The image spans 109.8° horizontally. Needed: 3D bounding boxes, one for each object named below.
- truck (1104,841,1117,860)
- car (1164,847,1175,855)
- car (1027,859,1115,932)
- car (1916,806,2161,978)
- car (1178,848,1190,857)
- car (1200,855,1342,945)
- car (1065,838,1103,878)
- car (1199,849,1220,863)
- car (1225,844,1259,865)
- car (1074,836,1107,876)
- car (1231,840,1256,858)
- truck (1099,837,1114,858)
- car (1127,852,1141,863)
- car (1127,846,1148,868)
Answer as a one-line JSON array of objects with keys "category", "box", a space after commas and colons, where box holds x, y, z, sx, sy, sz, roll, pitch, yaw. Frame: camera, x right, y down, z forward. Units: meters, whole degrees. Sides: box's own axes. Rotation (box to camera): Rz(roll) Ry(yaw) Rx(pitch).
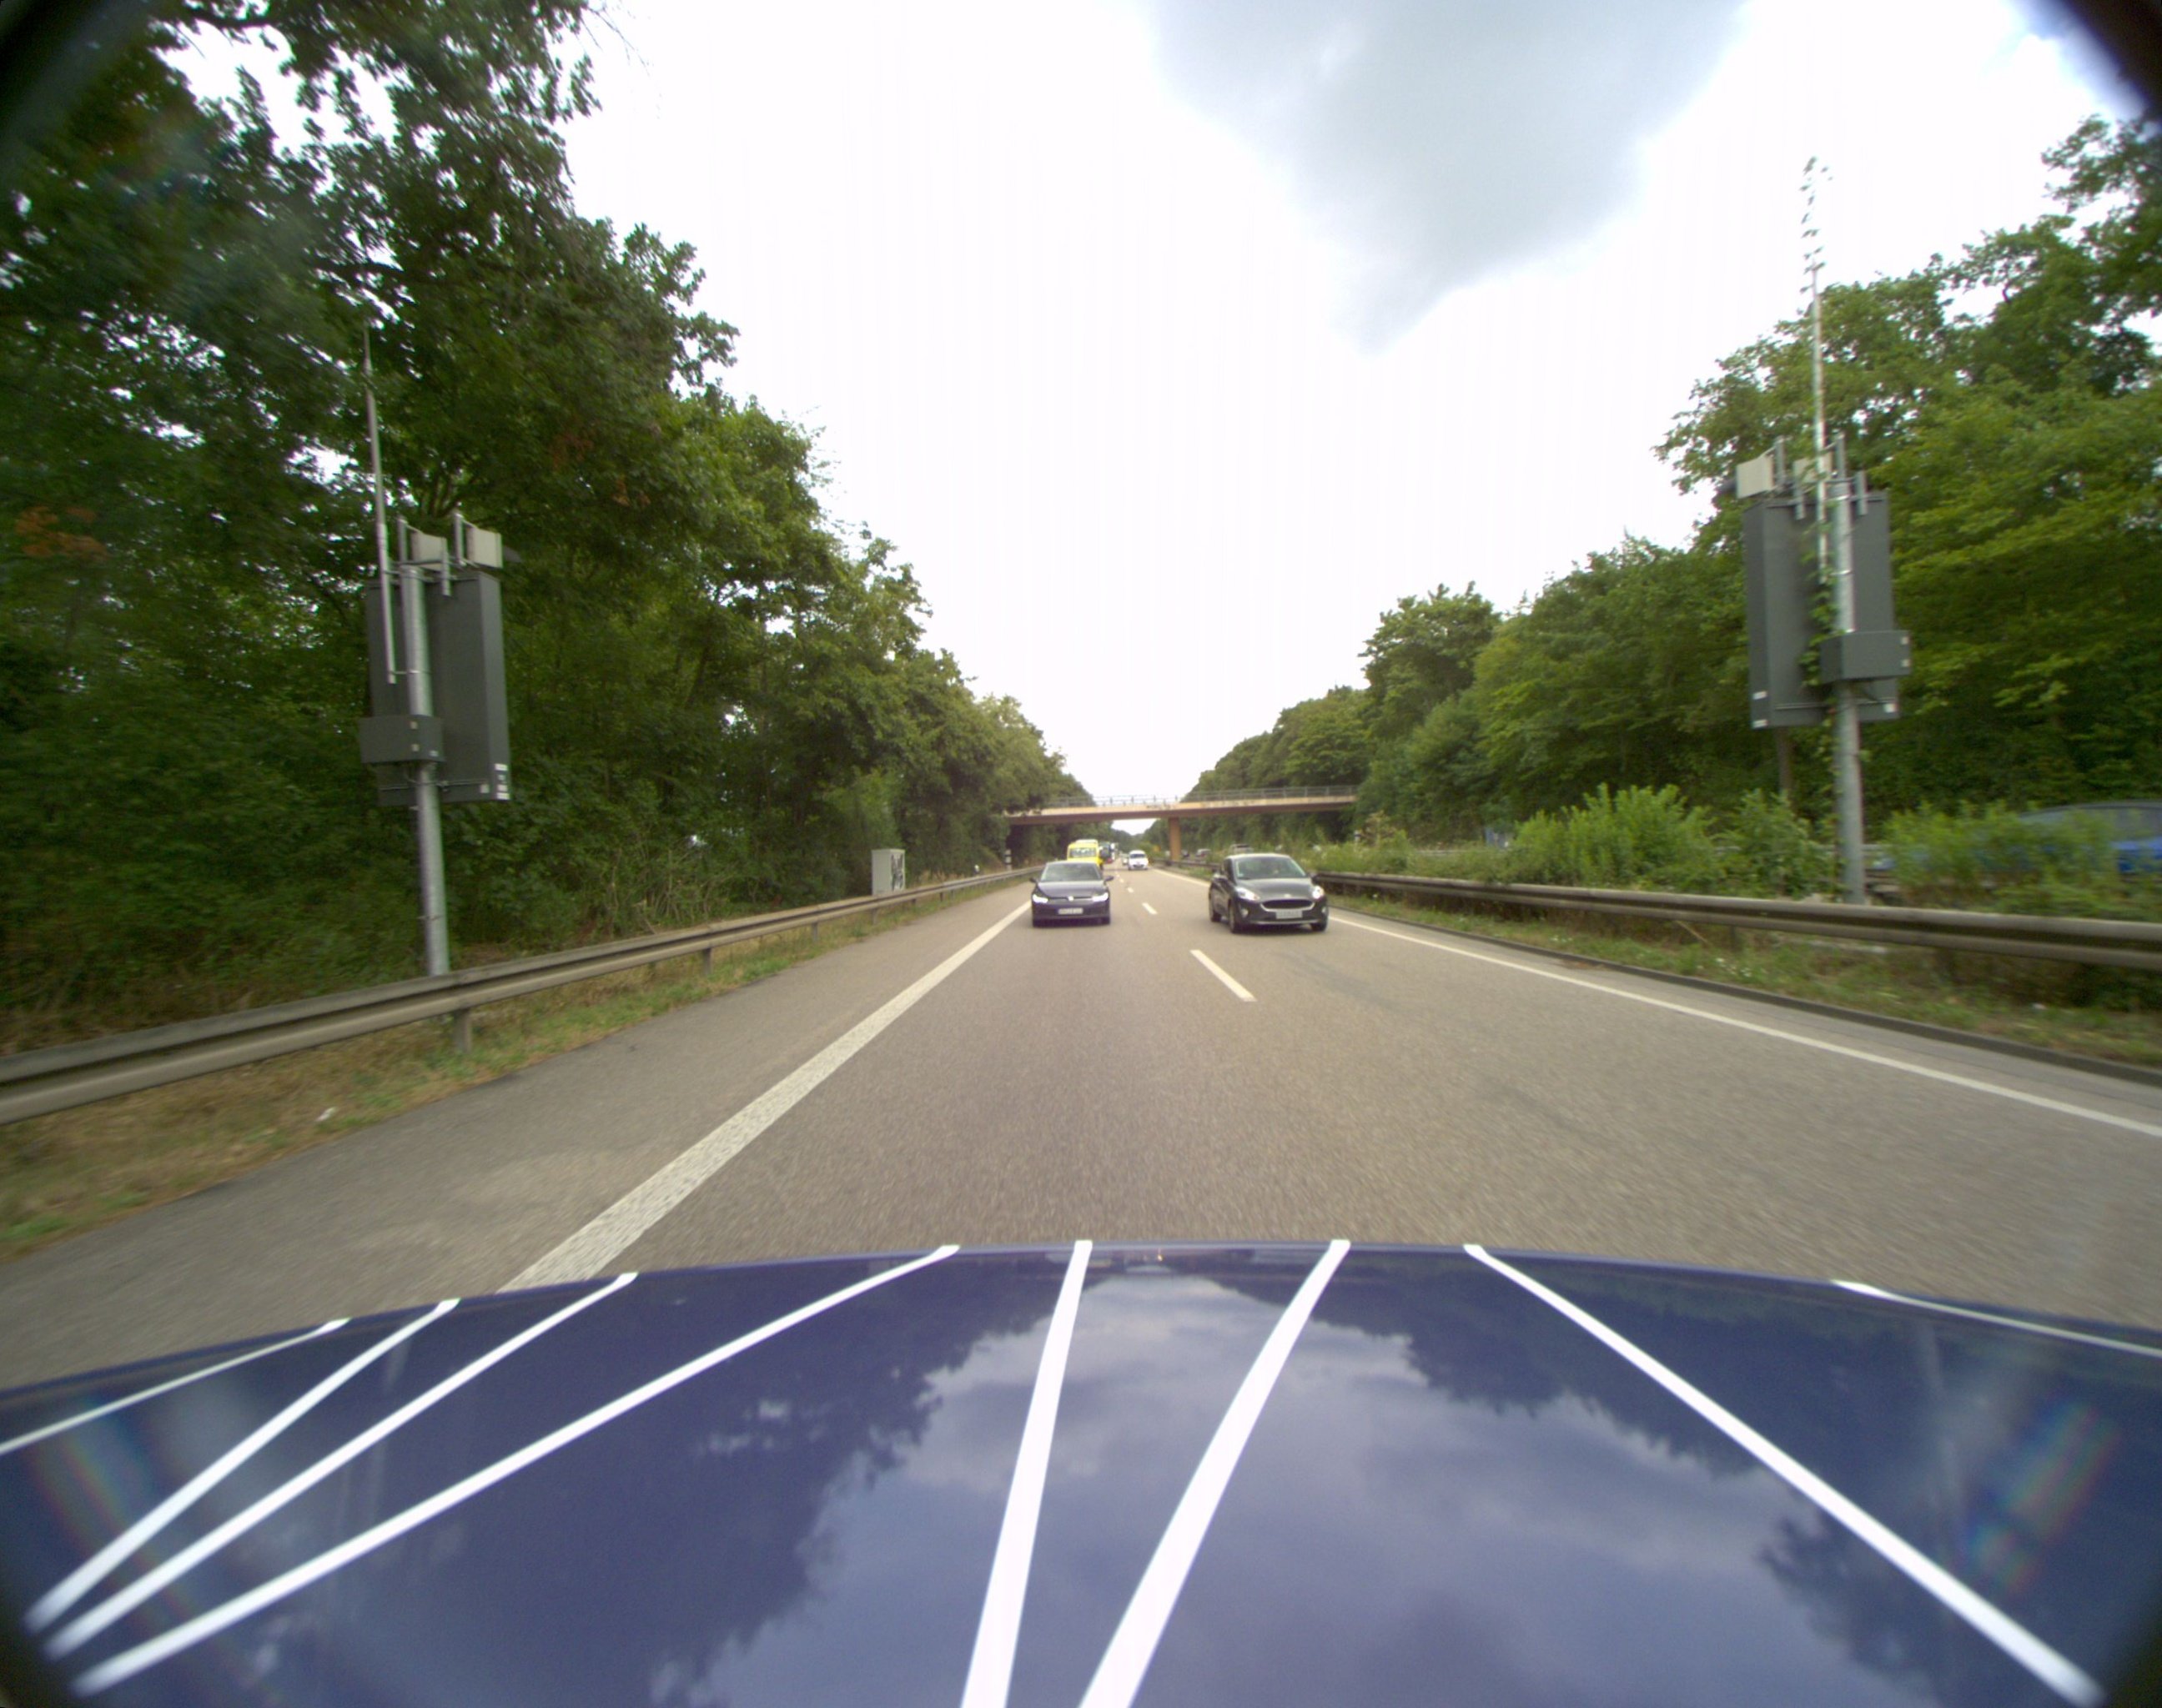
[{"category": "truck", "box": [7.009, -0.836, 181.944, 3.099, 4.462, 12.209, -2, 1, 2]}, {"category": "car", "box": [16.745, -0.522, 144.128, 1.693, 1.372, 4.936, -2, 1, 2]}, {"category": "car", "box": [-0.162, 0.889, 18.218, 1.800, 1.398, 4.639, -2, 1, 1]}, {"category": "car", "box": [11.691, 0.358, 8.430, 1.520, 1.737, 3.056, -2, 1, 1]}, {"category": "car", "box": [21.427, -0.272, 158.180, 1.898, 1.677, 4.640, -2, 1, 2]}, {"category": "car", "box": [3.629, 0.794, 15.398, 1.830, 1.449, 4.639, -2, 1, 2]}, {"category": "car", "box": [0.174, 0.221, 48.193, 2.248, 2.334, 5.223, -2, 1, 0]}, {"category": "car", "box": [14.718, 0.208, 87.078, 1.807, 1.581, 4.181, -2, 1, 1]}, {"category": "car", "box": [13.078, 0.039, 62.011, 1.998, 1.601, 4.000, -2, 1, 2]}, {"category": "car", "box": [0.657, 0.101, 56.940, 2.207, 2.732, 6.166, -2, 1, 0]}, {"category": "car", "box": [18.462, -0.599, 86.557, 1.800, 2.002, 5.302, -2, 1, 1]}, {"category": "truck", "box": [4.653, -1.202, 138.041, 2.548, 3.564, 6.457, -2, 1, 2]}, {"category": "car", "box": [7.273, 0.466, 105.270, 1.772, 1.416, 4.198, -2, 1, 2]}, {"category": "car", "box": [5.373, 0.237, 72.939, 1.821, 1.993, 4.423, -2, 1, 2]}]
